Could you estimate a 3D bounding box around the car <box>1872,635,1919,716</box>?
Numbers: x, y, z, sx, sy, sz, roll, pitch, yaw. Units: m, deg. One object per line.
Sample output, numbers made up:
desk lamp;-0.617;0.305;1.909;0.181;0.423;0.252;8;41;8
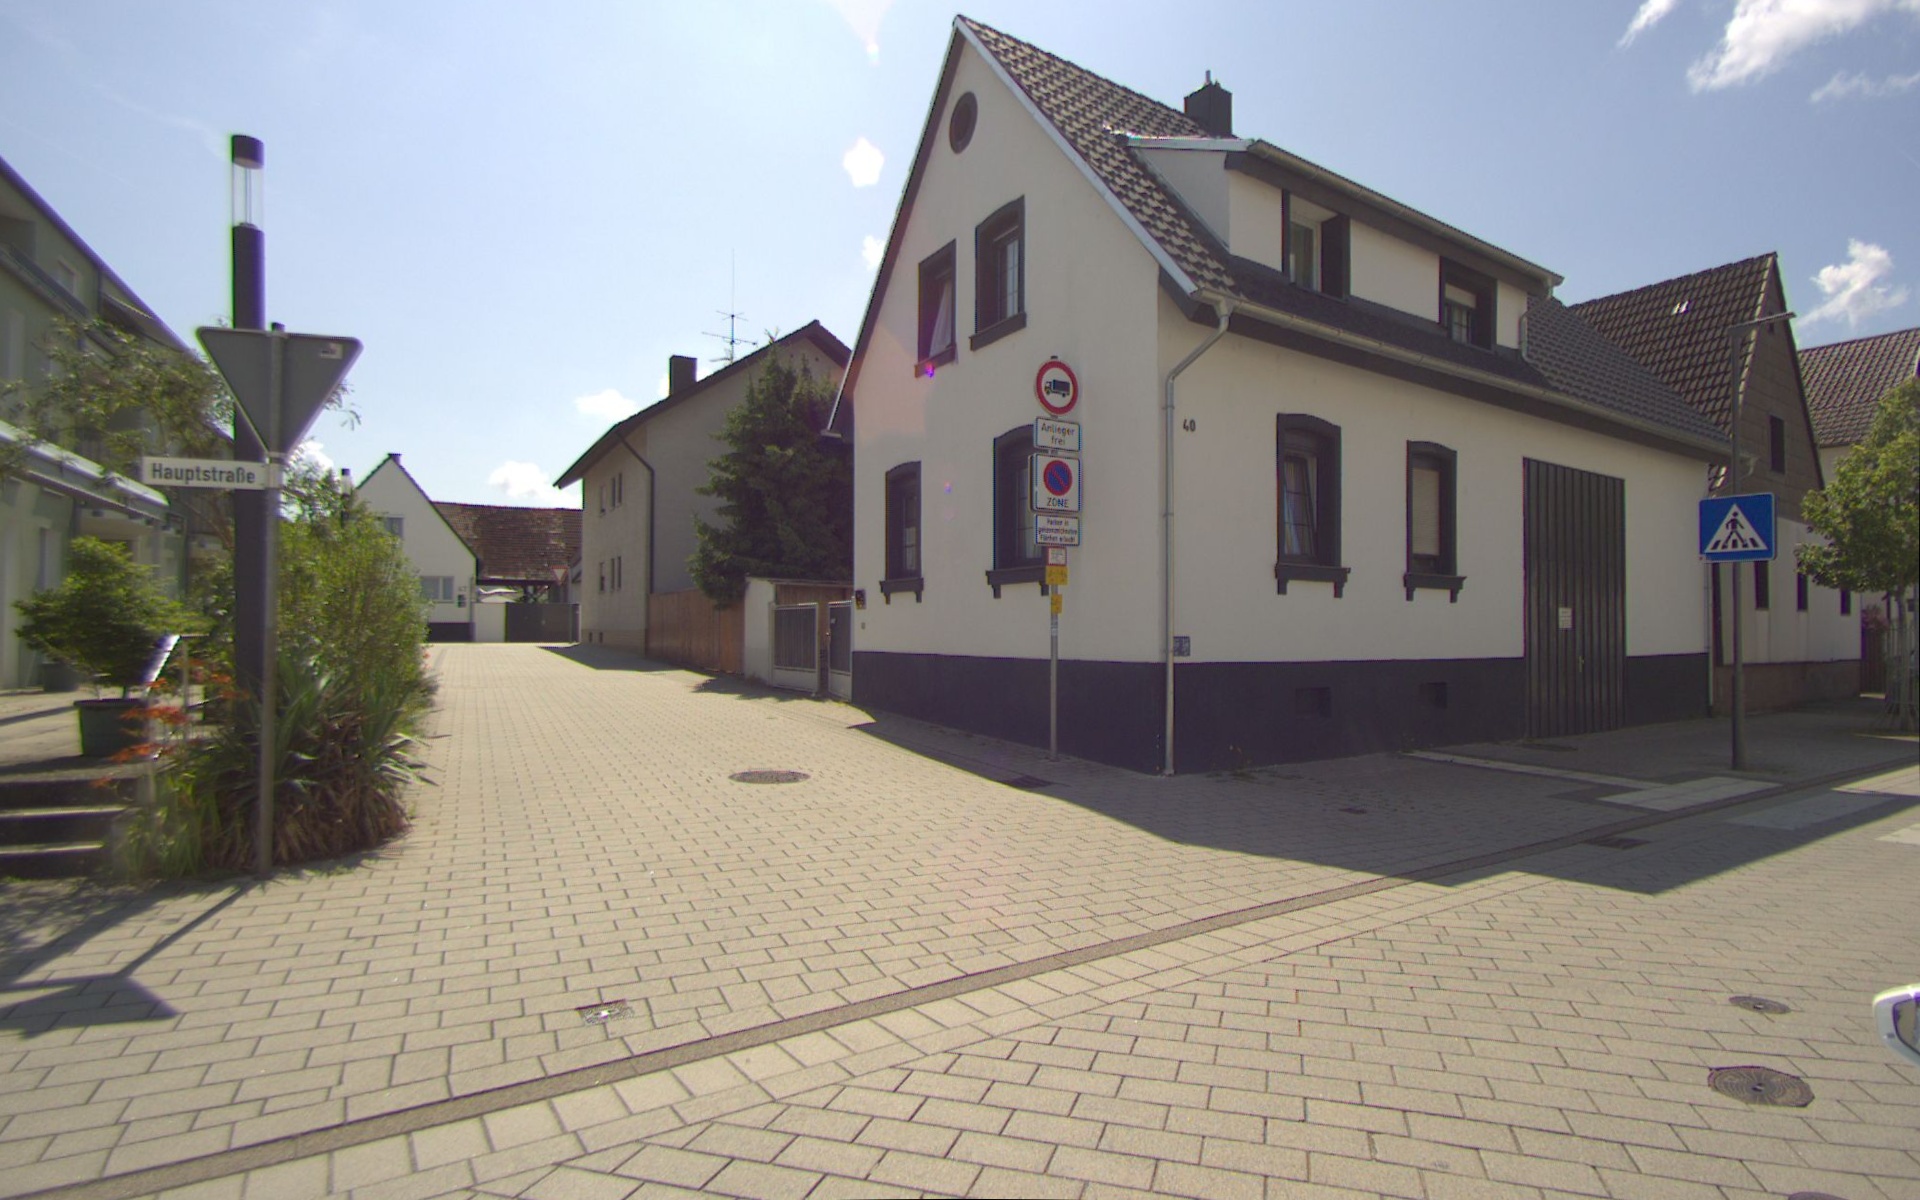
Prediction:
car;20.468;1.527;20.712;3.962;1.550;1.735;1;-1;-36
